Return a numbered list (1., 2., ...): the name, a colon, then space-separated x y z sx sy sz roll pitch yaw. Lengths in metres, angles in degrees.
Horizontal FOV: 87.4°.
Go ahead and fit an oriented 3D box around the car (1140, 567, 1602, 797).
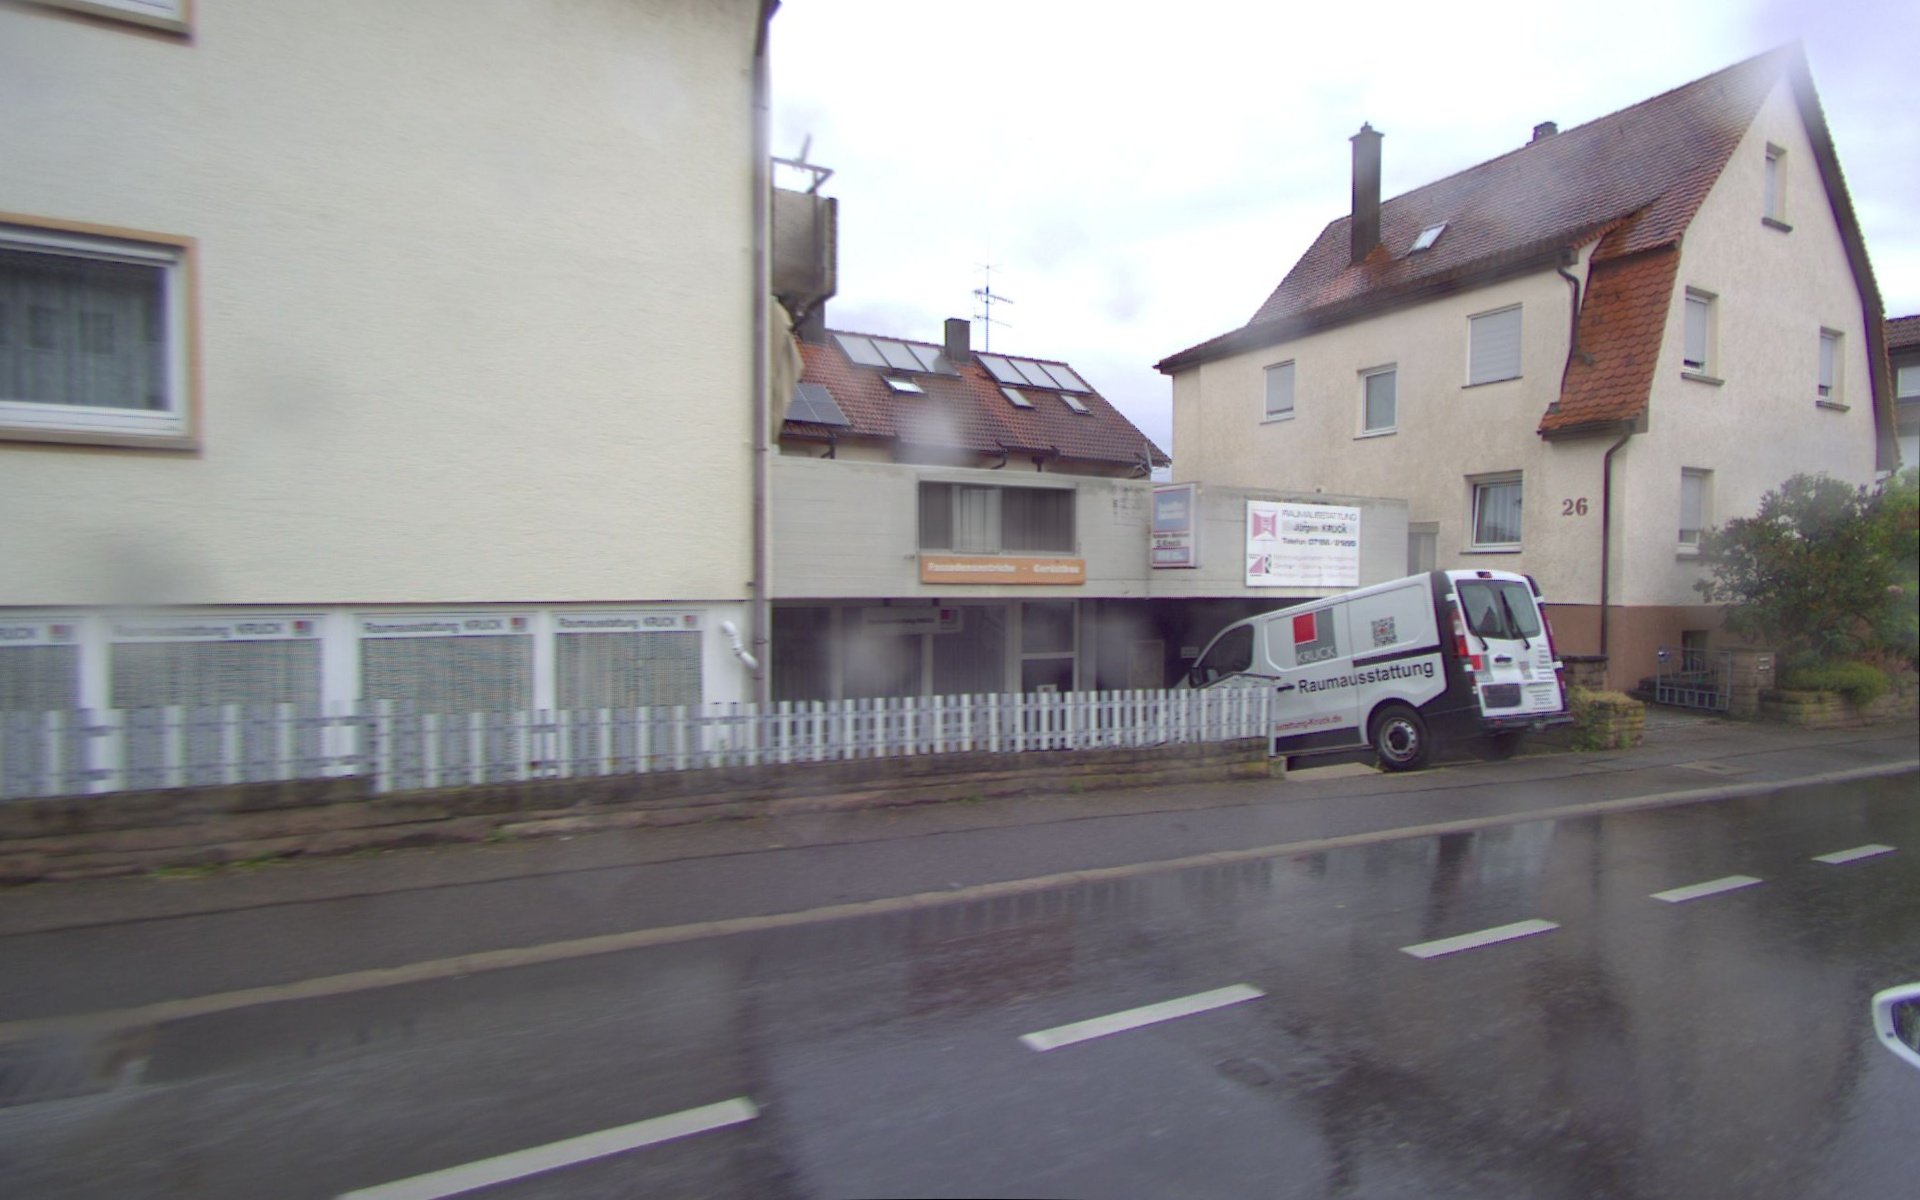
1. car: 4.532 1.117 11.944 2.134 2.036 4.542 -2 -10 -30
